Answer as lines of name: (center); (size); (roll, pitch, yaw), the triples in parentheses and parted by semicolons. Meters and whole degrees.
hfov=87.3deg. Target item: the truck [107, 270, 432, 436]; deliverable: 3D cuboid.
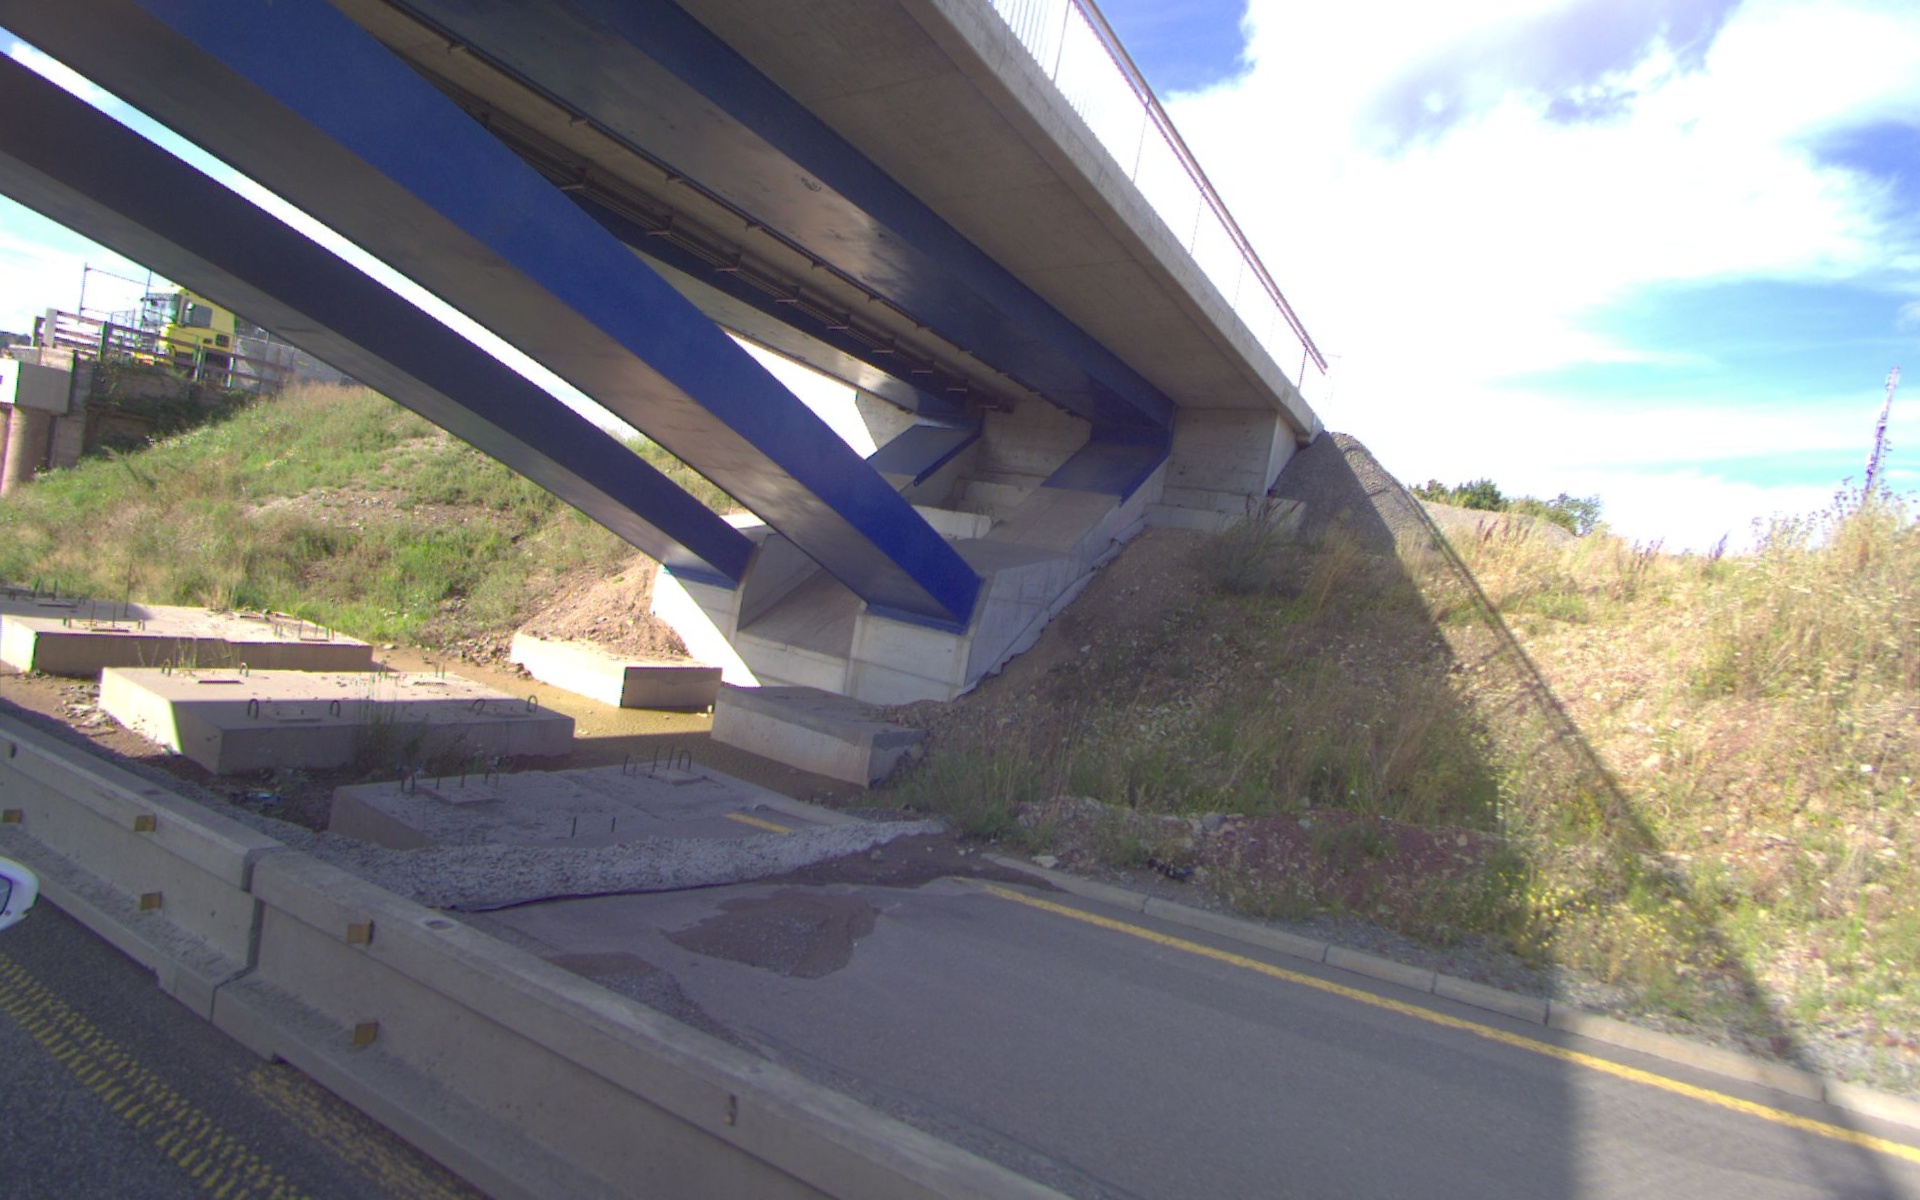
truck: (-24.865, -8.711, 36.980); (2.910, 3.266, 9.280); (7, -1, 31)
